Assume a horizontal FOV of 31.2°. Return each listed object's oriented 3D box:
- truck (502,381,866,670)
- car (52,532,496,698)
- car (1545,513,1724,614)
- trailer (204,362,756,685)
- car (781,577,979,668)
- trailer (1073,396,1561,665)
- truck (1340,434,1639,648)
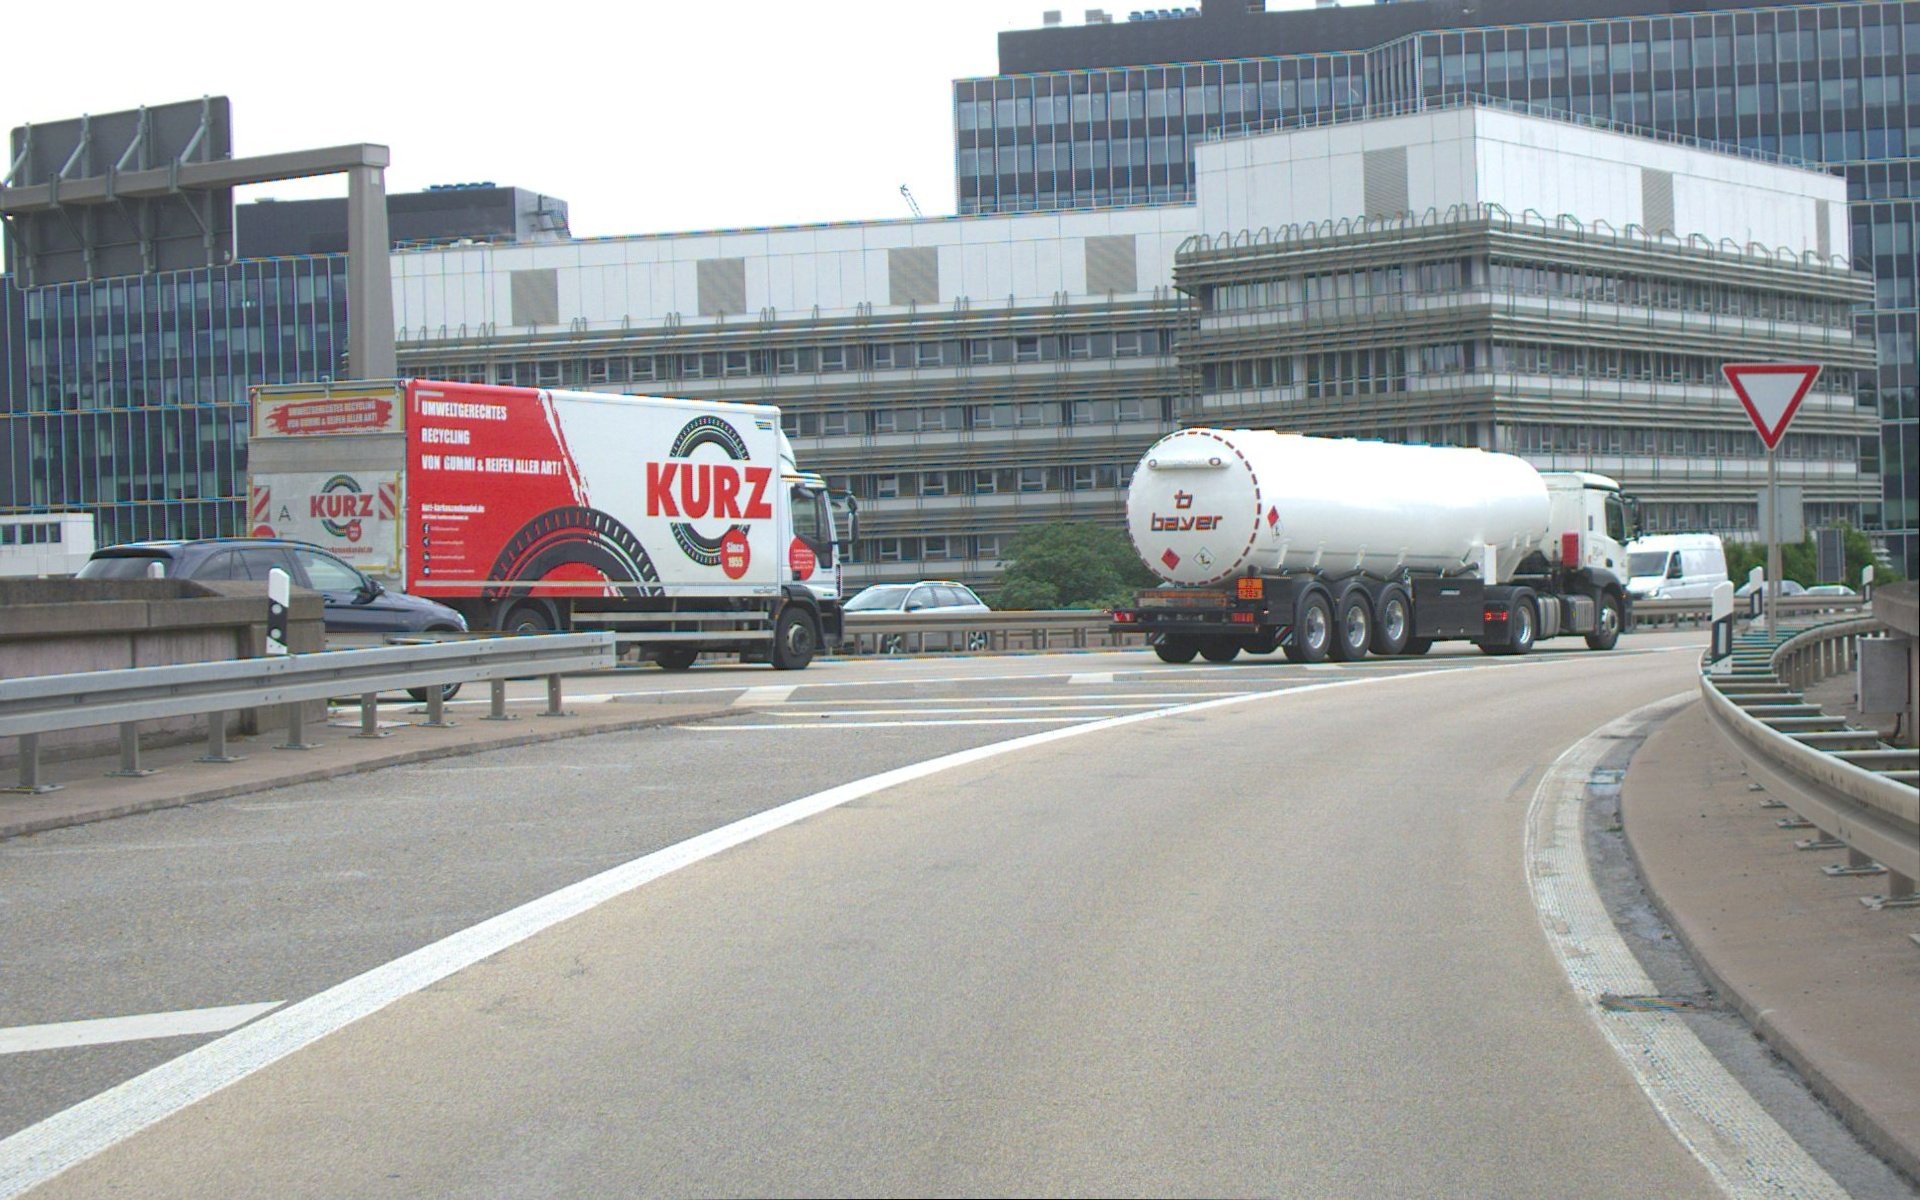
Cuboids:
[{"bbox_3d":[-3.670,-0.973,46.443,2.696,3.677,4.431,-1,0,33],"label":"truck"},{"bbox_3d":[-6.708,0.117,34.028,1.850,1.499,4.257,2,1,33],"label":"car"},{"bbox_3d":[18.355,-1.009,93.316,2.583,2.635,6.179,0,1,33],"label":"car"},{"bbox_3d":[-5.821,-0.915,43.056,2.695,3.677,7.300,-1,0,32],"label":"trailer"},{"bbox_3d":[-1.401,0.388,61.755,1.648,1.513,3.832,-1,0,33],"label":"car"},{"bbox_3d":[5.826,-1.050,53.409,2.797,3.725,11.135,-1,0,32],"label":"trailer"},{"bbox_3d":[9.106,-0.995,58.589,2.774,3.419,5.954,-1,0,33],"label":"truck"}]
